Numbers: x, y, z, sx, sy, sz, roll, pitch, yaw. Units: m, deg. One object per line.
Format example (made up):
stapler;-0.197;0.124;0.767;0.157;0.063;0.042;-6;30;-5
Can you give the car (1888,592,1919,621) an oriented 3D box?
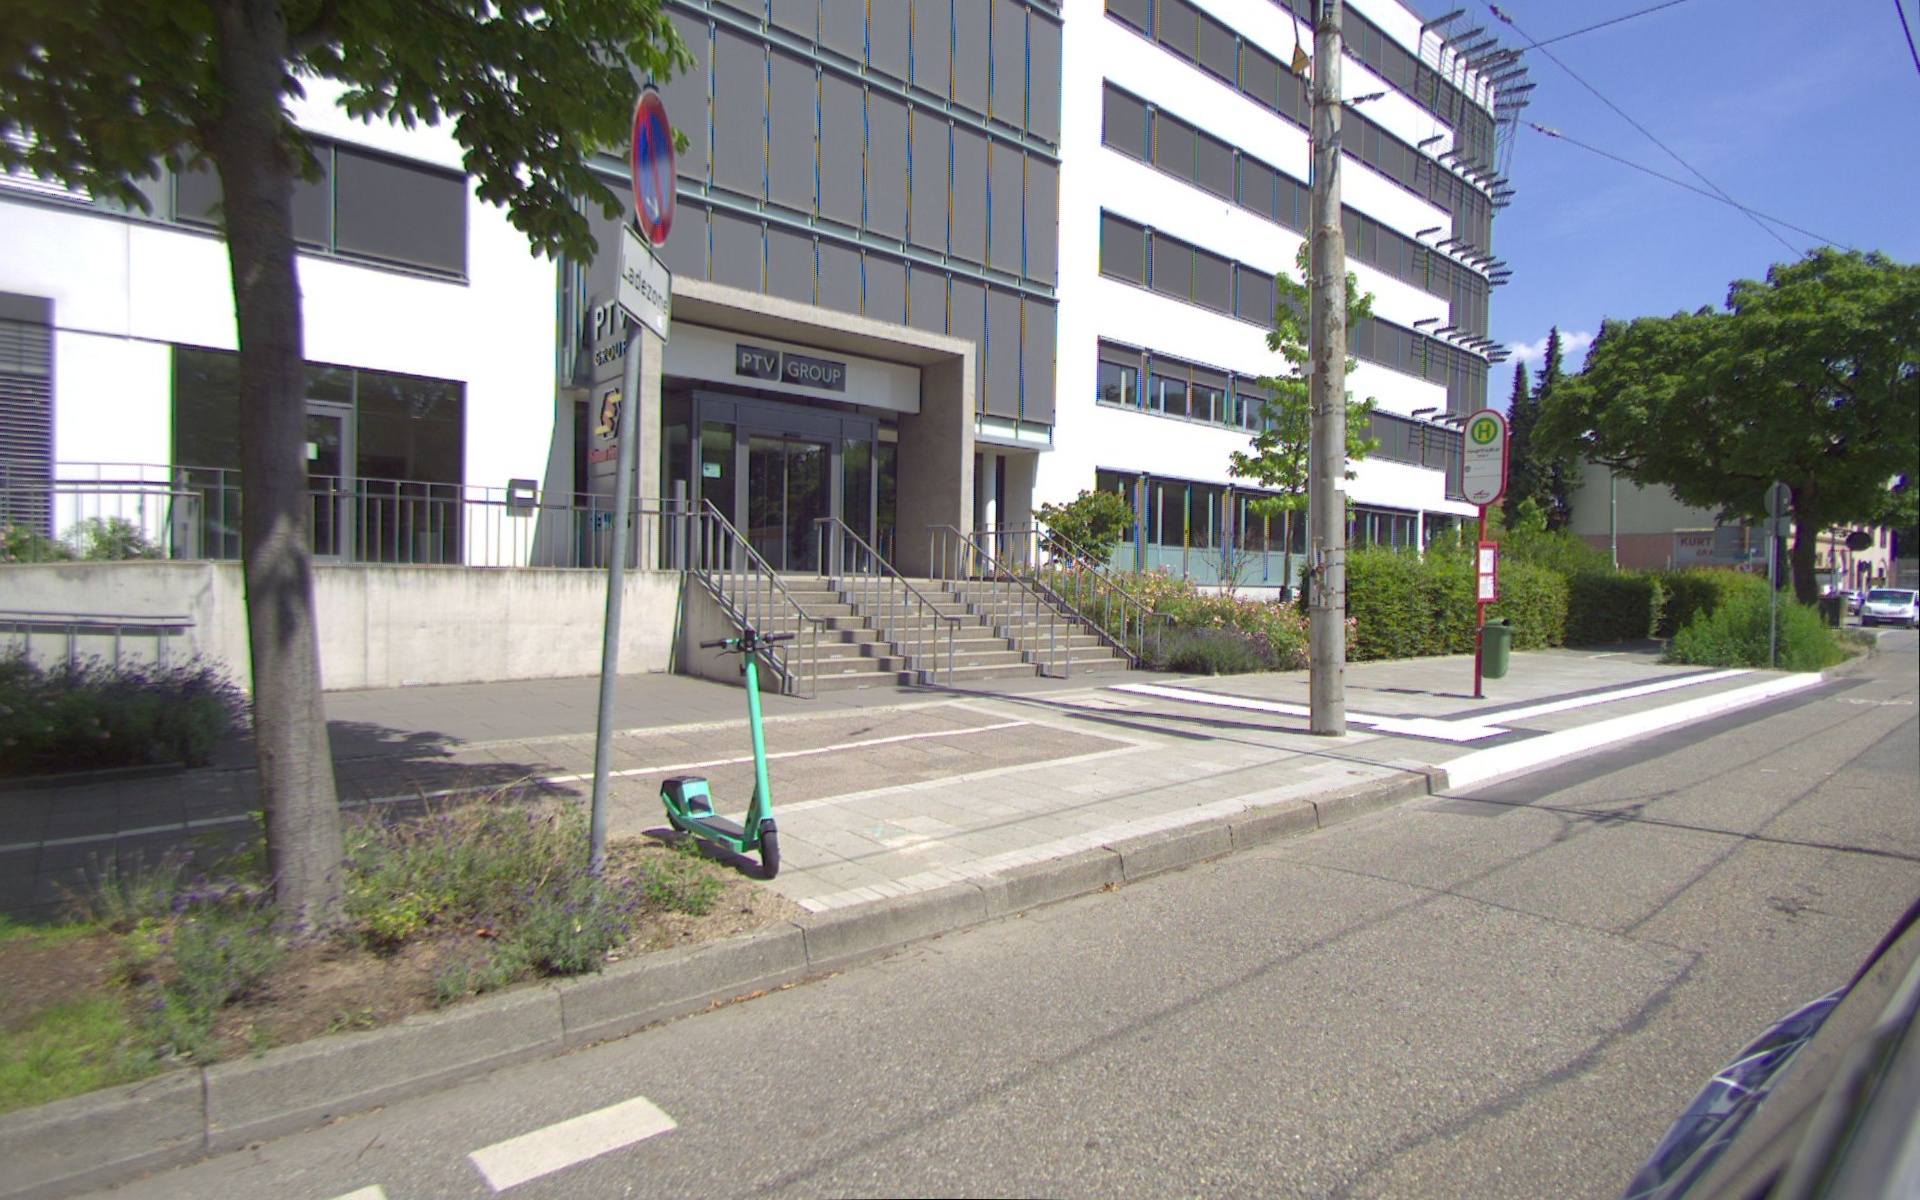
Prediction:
car;50.872;0.343;53.648;3.945;1.460;1.998;0;0;-40

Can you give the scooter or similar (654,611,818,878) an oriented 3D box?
scooter or similar;-1.174;0.674;5.186;0.364;1.170;1.061;0;2;-39

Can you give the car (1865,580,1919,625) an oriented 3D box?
car;46.351;0.090;49.755;5.417;2.016;1.998;0;3;-41
